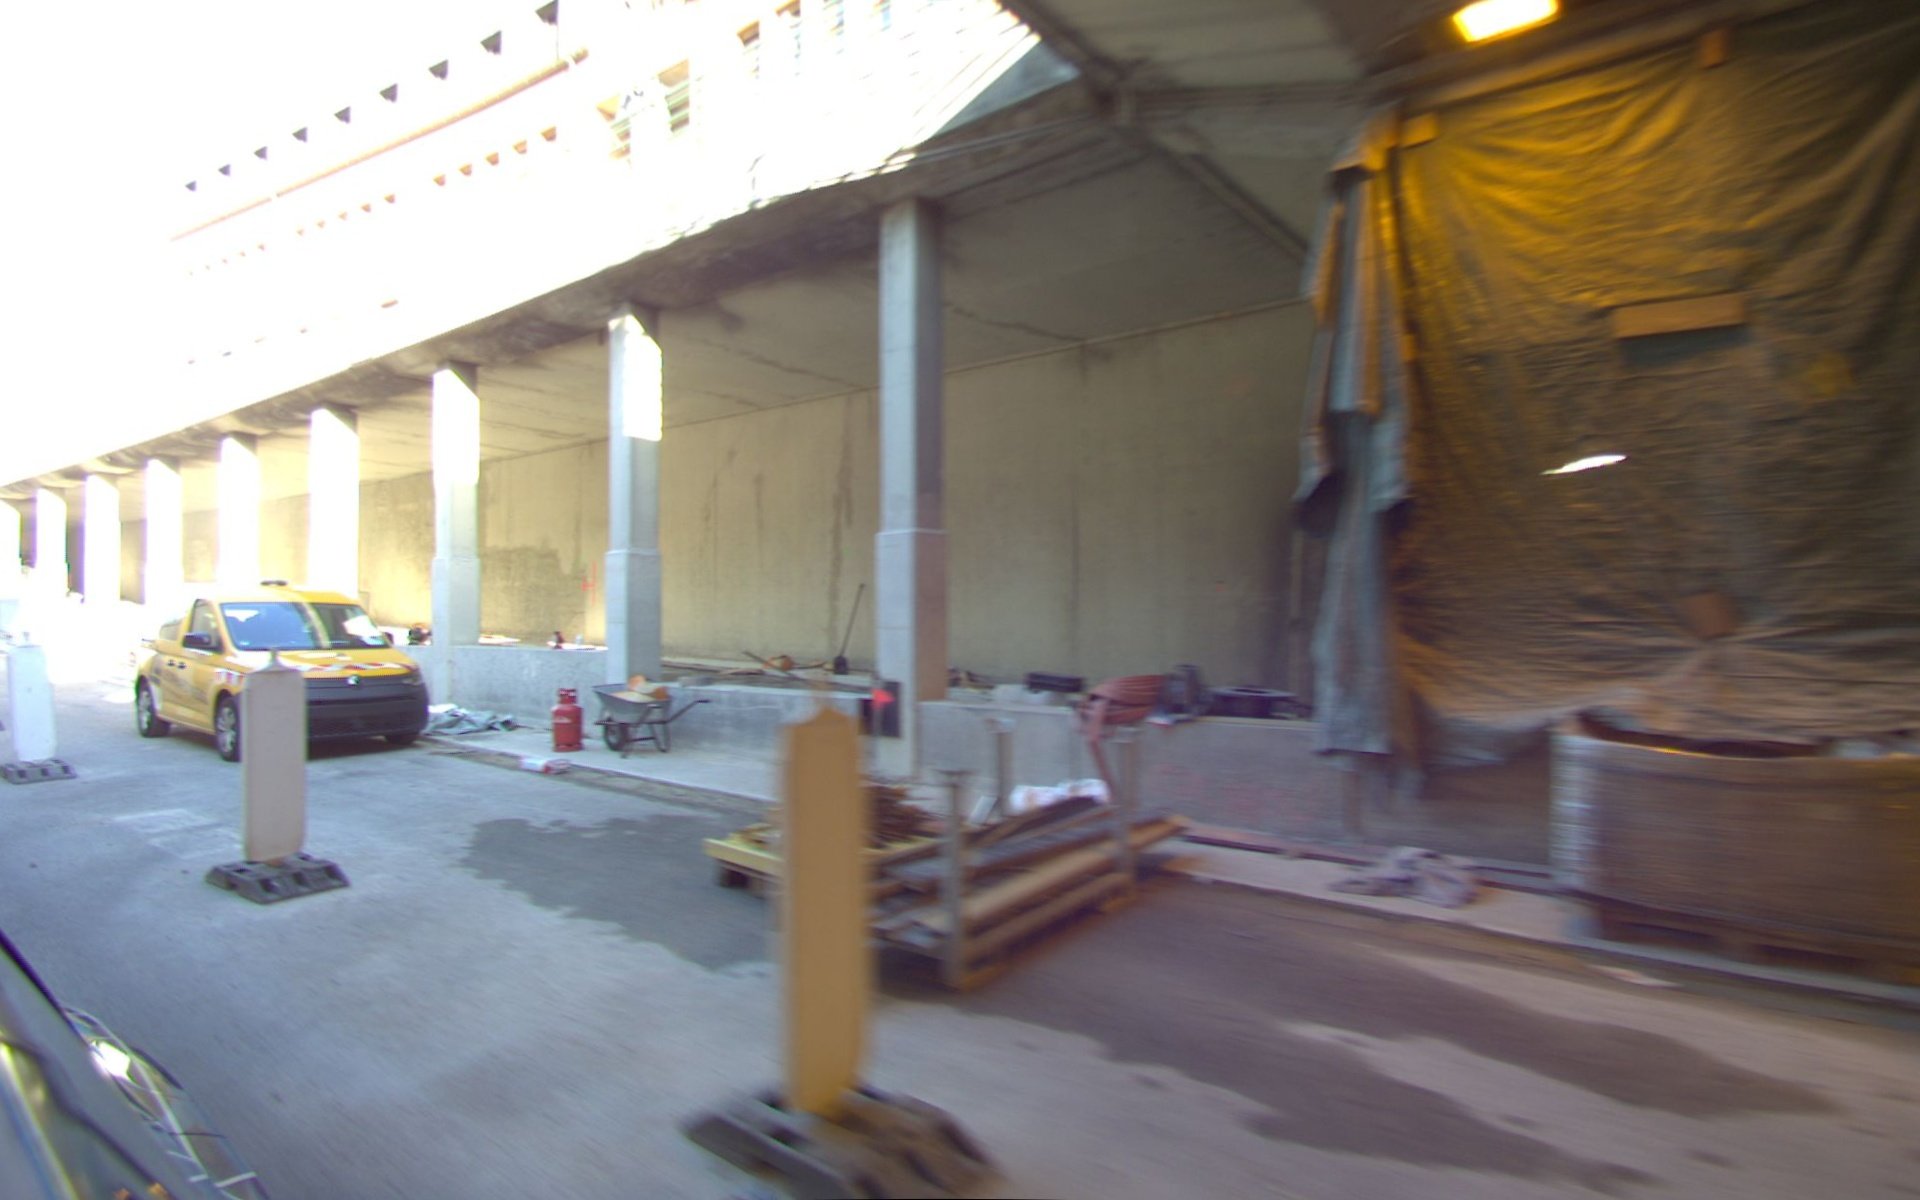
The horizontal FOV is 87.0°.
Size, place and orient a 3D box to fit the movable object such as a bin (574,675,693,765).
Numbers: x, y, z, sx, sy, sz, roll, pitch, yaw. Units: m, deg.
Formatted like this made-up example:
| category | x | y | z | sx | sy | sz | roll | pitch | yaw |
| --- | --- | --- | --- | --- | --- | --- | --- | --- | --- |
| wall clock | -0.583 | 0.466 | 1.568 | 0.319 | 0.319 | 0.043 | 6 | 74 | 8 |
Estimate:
| category | x | y | z | sx | sy | sz | roll | pitch | yaw |
| --- | --- | --- | --- | --- | --- | --- | --- | --- | --- |
| movable object such as a bin | -3.207 | 1.153 | 9.930 | 1.030 | 0.747 | 0.645 | 1 | -1 | 38 |

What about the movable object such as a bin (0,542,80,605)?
| category | x | y | z | sx | sy | sz | roll | pitch | yaw |
| --- | --- | --- | --- | --- | --- | --- | --- | --- | --- |
| movable object such as a bin | -31.147 | -0.874 | 33.682 | 3.146 | 2.002 | 1.872 | 2 | 1 | 30 |

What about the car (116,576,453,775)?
| category | x | y | z | sx | sy | sz | roll | pitch | yaw |
| --- | --- | --- | --- | --- | --- | --- | --- | --- | --- |
| car | -7.609 | 0.693 | 11.236 | 4.428 | 1.789 | 1.830 | 0 | -1 | 38 |
